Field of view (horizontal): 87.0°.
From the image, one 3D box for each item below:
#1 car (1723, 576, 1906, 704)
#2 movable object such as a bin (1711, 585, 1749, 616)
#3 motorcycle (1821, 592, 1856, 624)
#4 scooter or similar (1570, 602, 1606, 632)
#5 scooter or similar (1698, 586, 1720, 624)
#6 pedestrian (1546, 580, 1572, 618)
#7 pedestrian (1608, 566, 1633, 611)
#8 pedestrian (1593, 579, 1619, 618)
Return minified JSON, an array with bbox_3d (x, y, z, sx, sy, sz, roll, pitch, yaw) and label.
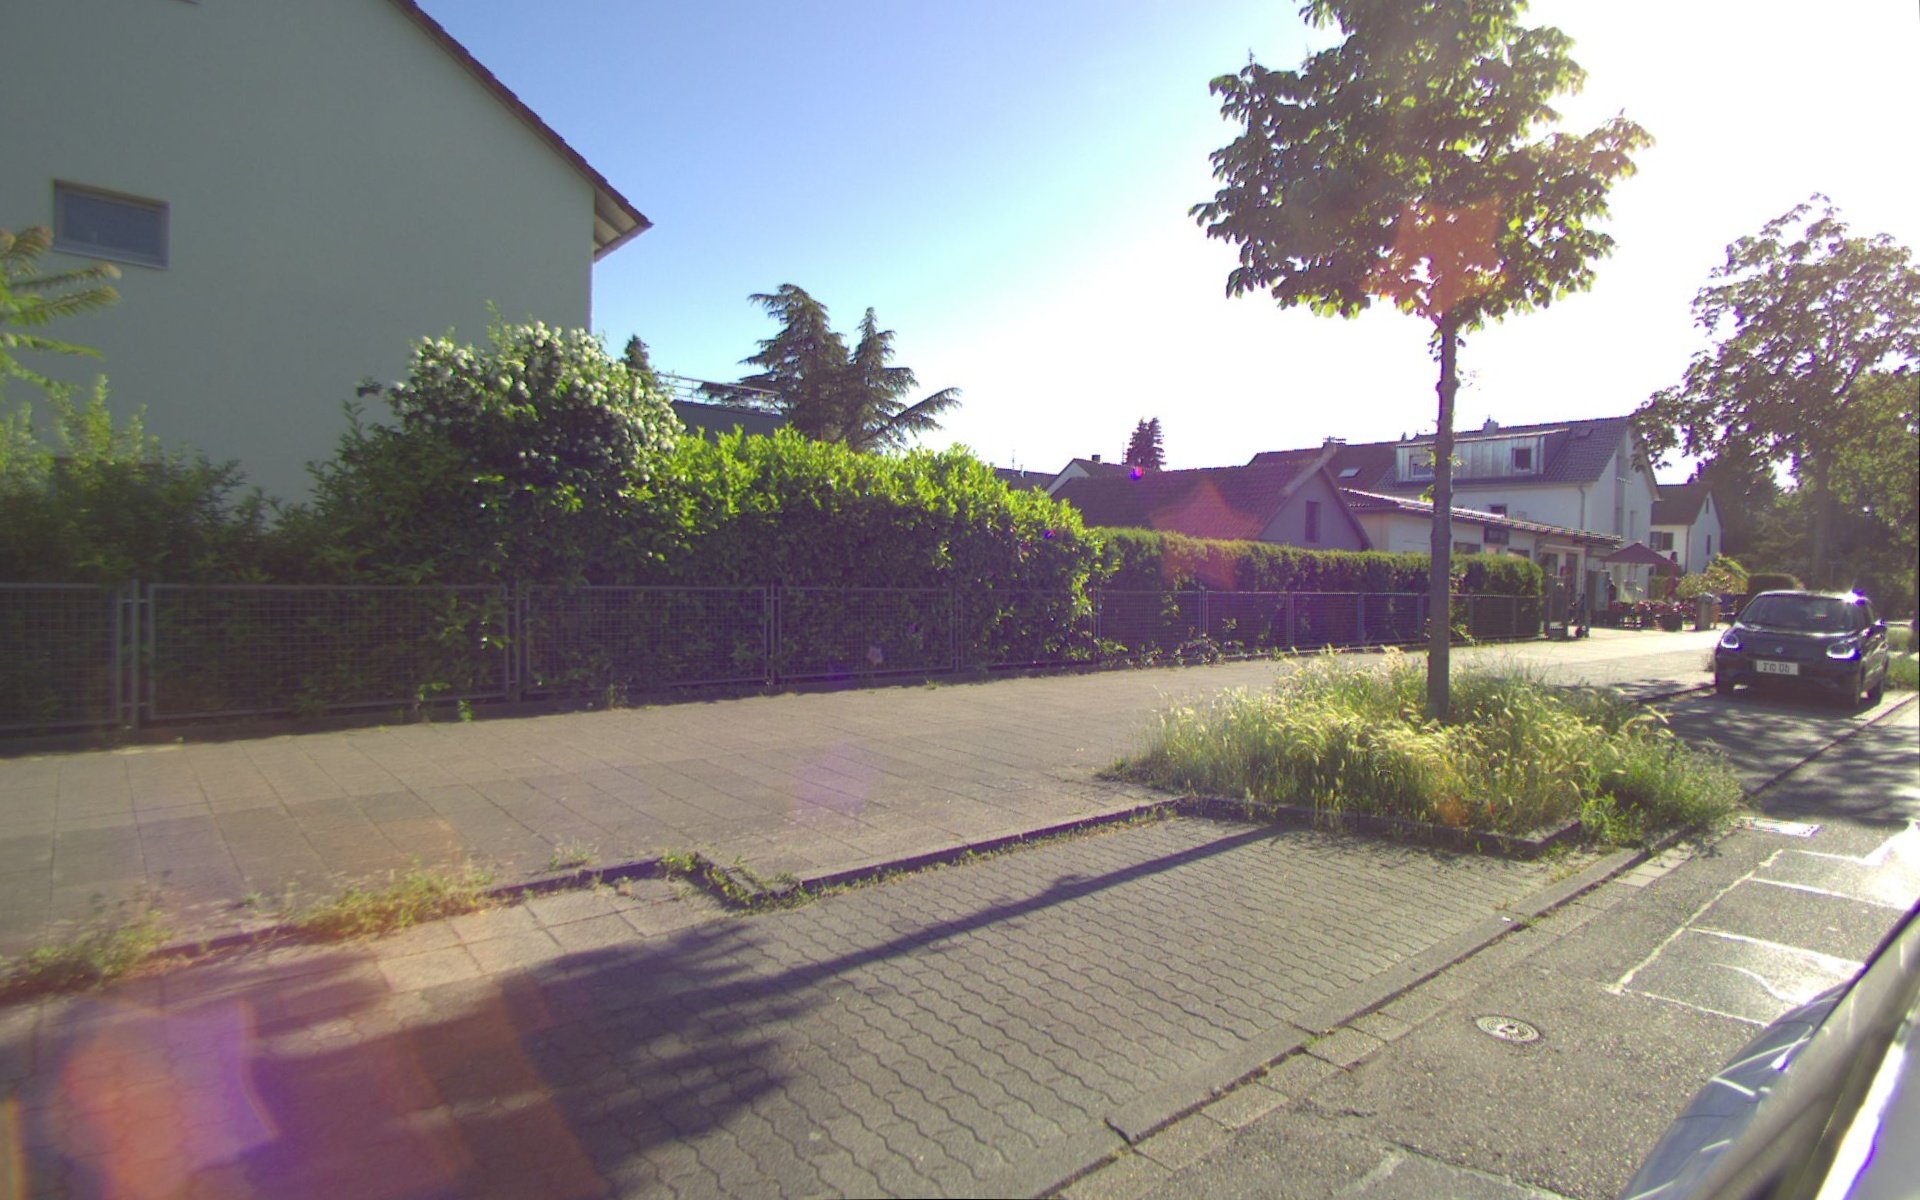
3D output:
[{"bbox_3d":[12.665,0.510,14.943,3.538,1.593,1.496,0,4,-42],"label":"car"},{"bbox_3d":[34.704,-0.001,45.593,0.912,1.309,1.171,-1,3,-42],"label":"movable object such as a bin"},{"bbox_3d":[36.469,0.313,41.991,2.305,1.270,0.837,-1,1,-42],"label":"motorcycle"},{"bbox_3d":[16.870,0.460,27.168,1.207,0.725,0.450,-1,6,-42],"label":"scooter or similar"},{"bbox_3d":[26.295,0.167,35.523,0.454,1.311,0.502,0,3,-45],"label":"scooter or similar"},{"bbox_3d":[21.716,-0.041,36.694,0.564,1.339,0.640,0,0,-41],"label":"pedestrian"},{"bbox_3d":[27.174,-0.478,41.626,0.722,1.831,0.672,0,0,-41],"label":"pedestrian"},{"bbox_3d":[22.696,-0.062,35.546,0.564,1.338,0.640,0,1,-41],"label":"pedestrian"}]
